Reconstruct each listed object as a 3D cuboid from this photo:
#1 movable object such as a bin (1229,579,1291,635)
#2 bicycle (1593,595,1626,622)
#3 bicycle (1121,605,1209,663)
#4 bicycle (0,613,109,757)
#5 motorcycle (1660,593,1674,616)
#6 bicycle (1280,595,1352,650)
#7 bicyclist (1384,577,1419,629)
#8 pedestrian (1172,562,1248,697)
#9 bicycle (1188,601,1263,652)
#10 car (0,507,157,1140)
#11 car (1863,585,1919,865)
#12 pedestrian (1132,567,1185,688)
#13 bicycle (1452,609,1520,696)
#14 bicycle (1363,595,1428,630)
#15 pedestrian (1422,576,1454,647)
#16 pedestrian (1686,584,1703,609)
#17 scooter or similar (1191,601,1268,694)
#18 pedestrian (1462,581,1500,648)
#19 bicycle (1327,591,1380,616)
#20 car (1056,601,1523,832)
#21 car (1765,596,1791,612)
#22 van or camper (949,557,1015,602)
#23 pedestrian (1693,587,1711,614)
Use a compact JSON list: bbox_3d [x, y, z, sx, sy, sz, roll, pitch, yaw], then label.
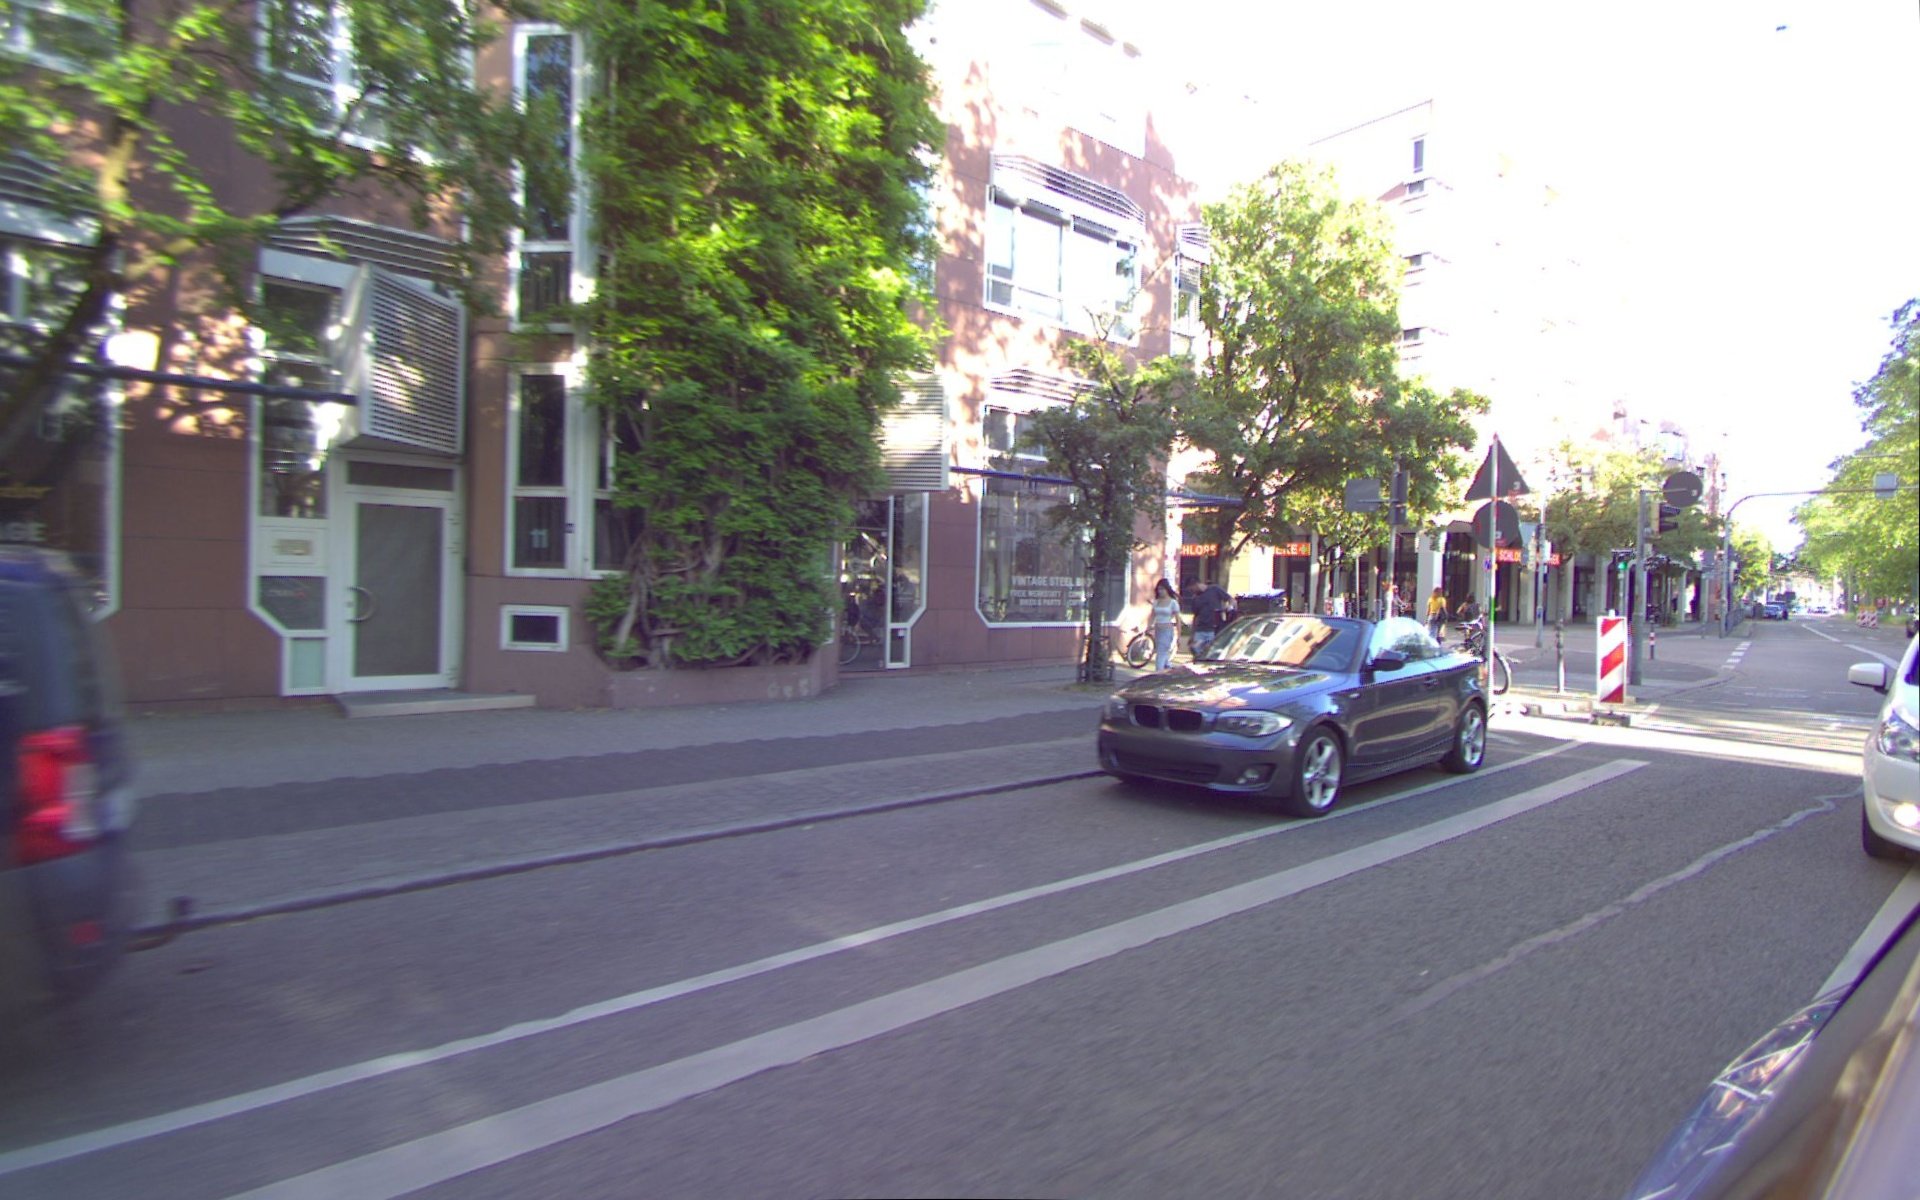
[{"bbox_3d":[8.365,0.192,28.237,0.856,1.500,1.413,0,1,-38],"label":"movable object such as a bin"},{"bbox_3d":[29.833,0.386,46.474,1.891,1.241,0.623,0,1,-38],"label":"bicycle"},{"bbox_3d":[3.710,0.588,18.277,0.737,0.951,1.724,2,1,44],"label":"bicycle"},{"bbox_3d":[-7.519,0.633,7.432,0.617,1.033,1.884,2,1,42],"label":"bicycle"},{"bbox_3d":[42.423,0.254,60.723,0.487,1.389,2.060,1,1,40],"label":"motorcycle"},{"bbox_3d":[8.683,0.531,24.726,0.568,1.242,1.568,1,1,-44],"label":"bicycle"},{"bbox_3d":[15.319,0.093,35.107,0.774,1.792,0.826,0,1,-42],"label":"bicyclist"},{"bbox_3d":[3.443,0.382,13.946,0.598,1.785,0.788,1,1,-38],"label":"pedestrian"},{"bbox_3d":[6.052,0.579,23.152,0.724,1.066,1.756,1,1,-22],"label":"bicycle"},{"bbox_3d":[-4.427,0.559,1.995,4.406,1.639,1.623,0,1,-41],"label":"car"},{"bbox_3d":[7.011,0.665,6.447,1.716,1.470,4.354,-1,-1,44],"label":"car"},{"bbox_3d":[2.887,0.381,14.695,0.458,1.693,0.670,2,1,40],"label":"pedestrian"},{"bbox_3d":[7.301,0.687,14.009,0.733,1.066,1.733,2,1,31],"label":"bicycle"},{"bbox_3d":[15.169,0.423,35.277,0.789,1.127,1.918,0,2,-41],"label":"bicycle"},{"bbox_3d":[12.167,0.275,25.739,0.695,1.755,0.761,1,1,26],"label":"pedestrian"},{"bbox_3d":[60.143,-0.266,82.890,0.806,2.006,0.845,1,1,13],"label":"pedestrian"},{"bbox_3d":[3.582,0.600,13.400,1.229,1.172,0.395,0,1,-45],"label":"scooter or similar"},{"bbox_3d":[12.880,0.346,25.026,0.644,1.598,0.736,2,1,44],"label":"pedestrian"},{"bbox_3d":[19.243,0.167,49.538,0.583,1.108,2.447,0,1,-41],"label":"bicycle"},{"bbox_3d":[2.811,0.700,8.075,4.237,1.318,1.623,0,2,-42],"label":"car"},{"bbox_3d":[78.415,0.381,96.993,1.702,1.502,4.183,4,2,42],"label":"car"},{"bbox_3d":[1.521,-1.377,66.929,2.330,2.801,6.409,1,1,21],"label":"van or camper"},{"bbox_3d":[50.265,0.036,68.561,0.822,1.760,0.782,0,1,-41],"label":"pedestrian"}]
